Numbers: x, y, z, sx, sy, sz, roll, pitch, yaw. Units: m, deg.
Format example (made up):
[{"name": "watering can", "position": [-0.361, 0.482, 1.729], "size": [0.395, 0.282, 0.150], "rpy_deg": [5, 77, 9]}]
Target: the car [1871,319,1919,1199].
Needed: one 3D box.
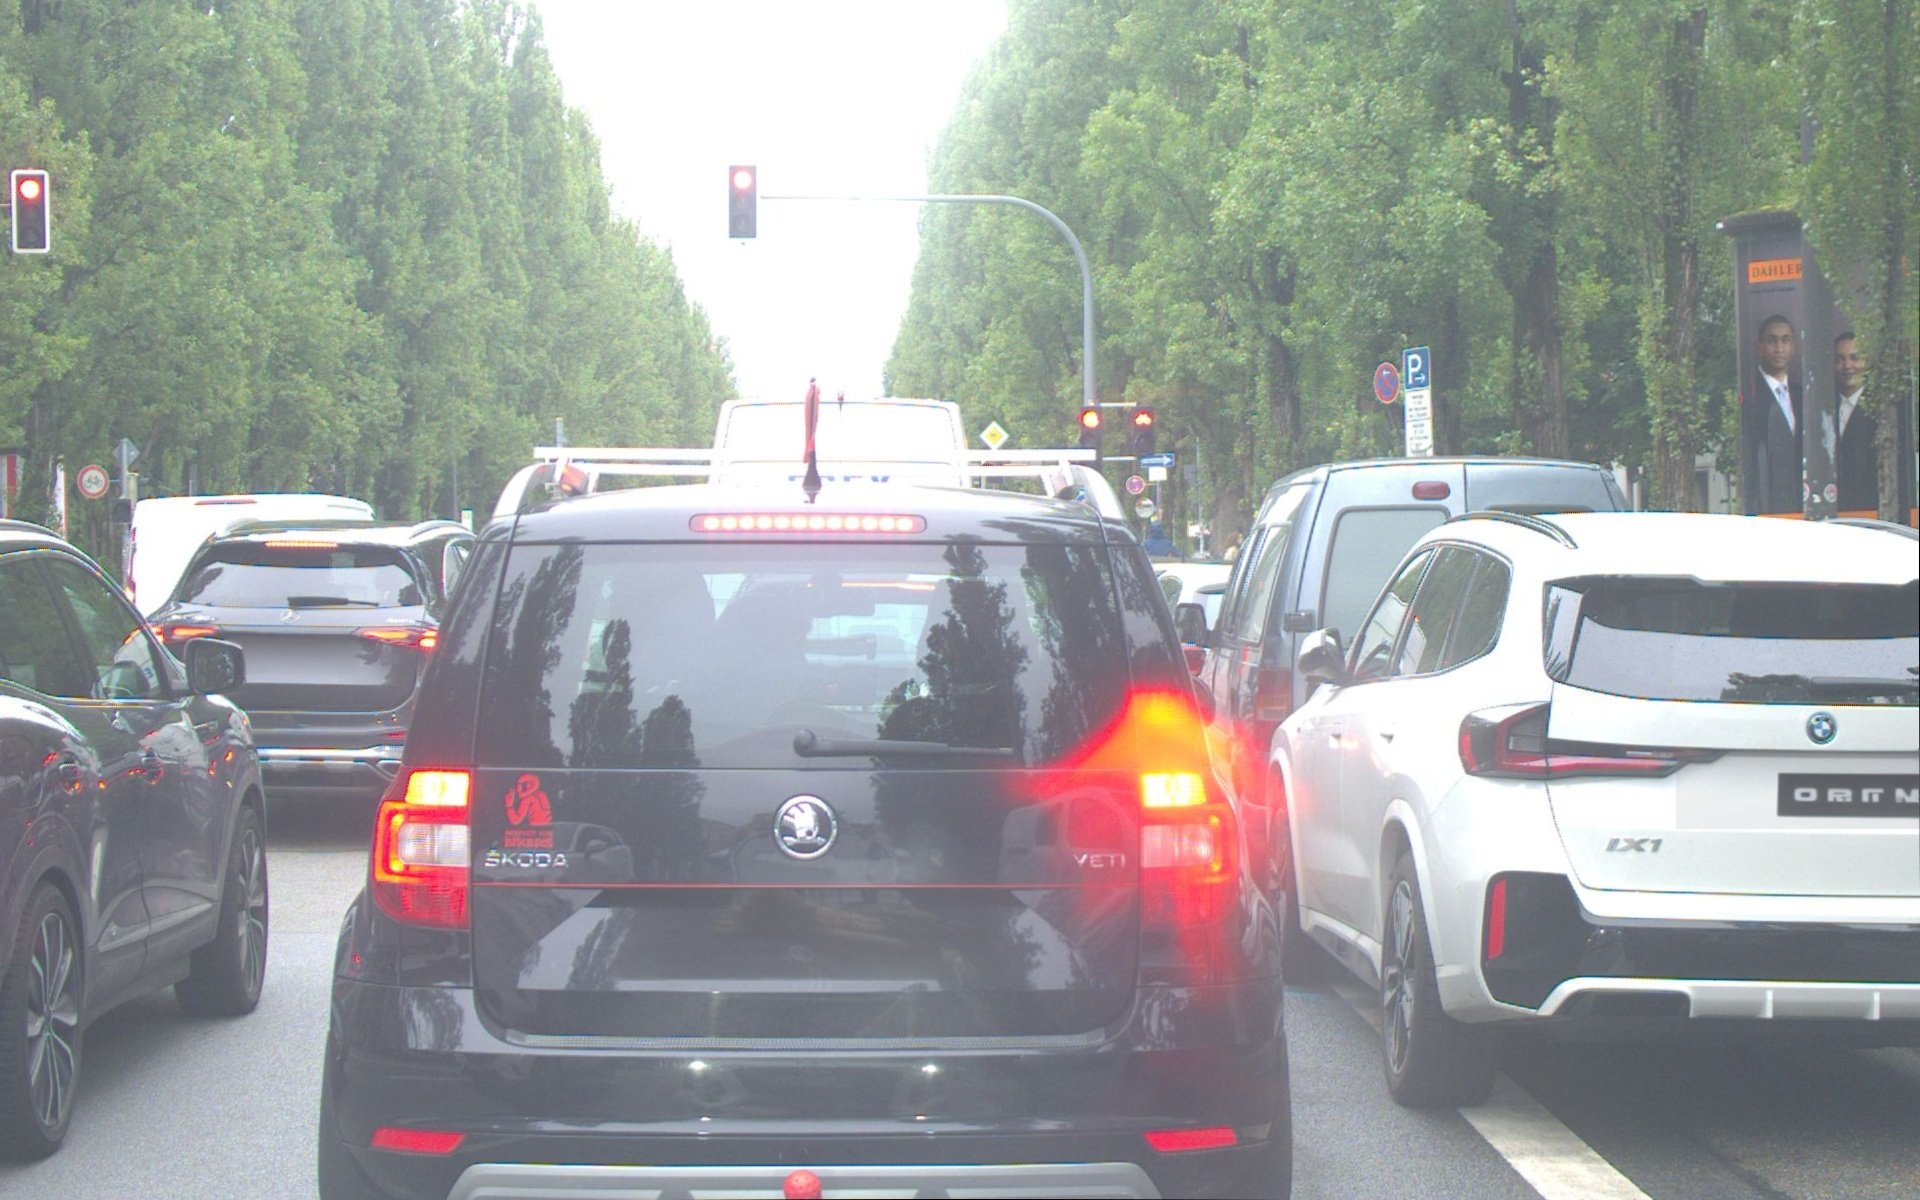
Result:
[{"name": "car", "position": [2.433, 0.549, 3.308], "size": [1.851, 1.875, 4.169], "rpy_deg": [-1, 1, -2]}]

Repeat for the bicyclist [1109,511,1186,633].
[{"name": "bicyclist", "position": [2.676, -0.410, 49.244], "size": [0.905, 1.716, 0.825], "rpy_deg": [-1, 1, -11]}]

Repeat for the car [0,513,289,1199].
[{"name": "car", "position": [-3.135, 0.545, 9.496], "size": [1.835, 1.580, 4.186], "rpy_deg": [1, 1, -2]}]

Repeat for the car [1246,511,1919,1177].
[{"name": "car", "position": [1.968, 0.537, 10.379], "size": [1.741, 1.587, 4.212], "rpy_deg": [-1, 1, -1]}]

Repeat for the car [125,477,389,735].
[{"name": "car", "position": [-6.192, 0.024, 30.685], "size": [1.781, 2.104, 4.025], "rpy_deg": [-1, 1, -4]}]

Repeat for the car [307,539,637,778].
[{"name": "car", "position": [-3.494, 0.359, 25.294], "size": [1.993, 1.555, 4.001], "rpy_deg": [-1, 2, -2]}]

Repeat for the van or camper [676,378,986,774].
[{"name": "van or camper", "position": [-0.943, -0.199, 24.329], "size": [1.975, 2.540, 4.025], "rpy_deg": [-1, 1, -3]}]

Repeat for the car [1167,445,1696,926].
[{"name": "car", "position": [1.995, 0.293, 15.651], "size": [1.735, 1.889, 4.025], "rpy_deg": [-1, 1, -2]}]

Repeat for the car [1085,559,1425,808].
[{"name": "car", "position": [1.779, 0.462, 21.727], "size": [1.735, 1.382, 3.563], "rpy_deg": [-1, 1, -2]}]

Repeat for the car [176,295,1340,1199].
[{"name": "car", "position": [-0.375, 0.374, 7.579], "size": [1.855, 1.764, 4.000], "rpy_deg": [1, 1, -1]}]

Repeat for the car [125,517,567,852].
[{"name": "car", "position": [-3.215, 0.367, 18.725], "size": [1.781, 1.614, 4.025], "rpy_deg": [0, 1, -2]}]

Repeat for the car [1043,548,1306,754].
[{"name": "car", "position": [1.620, 0.346, 27.027], "size": [1.735, 1.470, 3.563], "rpy_deg": [-1, 1, -2]}]
